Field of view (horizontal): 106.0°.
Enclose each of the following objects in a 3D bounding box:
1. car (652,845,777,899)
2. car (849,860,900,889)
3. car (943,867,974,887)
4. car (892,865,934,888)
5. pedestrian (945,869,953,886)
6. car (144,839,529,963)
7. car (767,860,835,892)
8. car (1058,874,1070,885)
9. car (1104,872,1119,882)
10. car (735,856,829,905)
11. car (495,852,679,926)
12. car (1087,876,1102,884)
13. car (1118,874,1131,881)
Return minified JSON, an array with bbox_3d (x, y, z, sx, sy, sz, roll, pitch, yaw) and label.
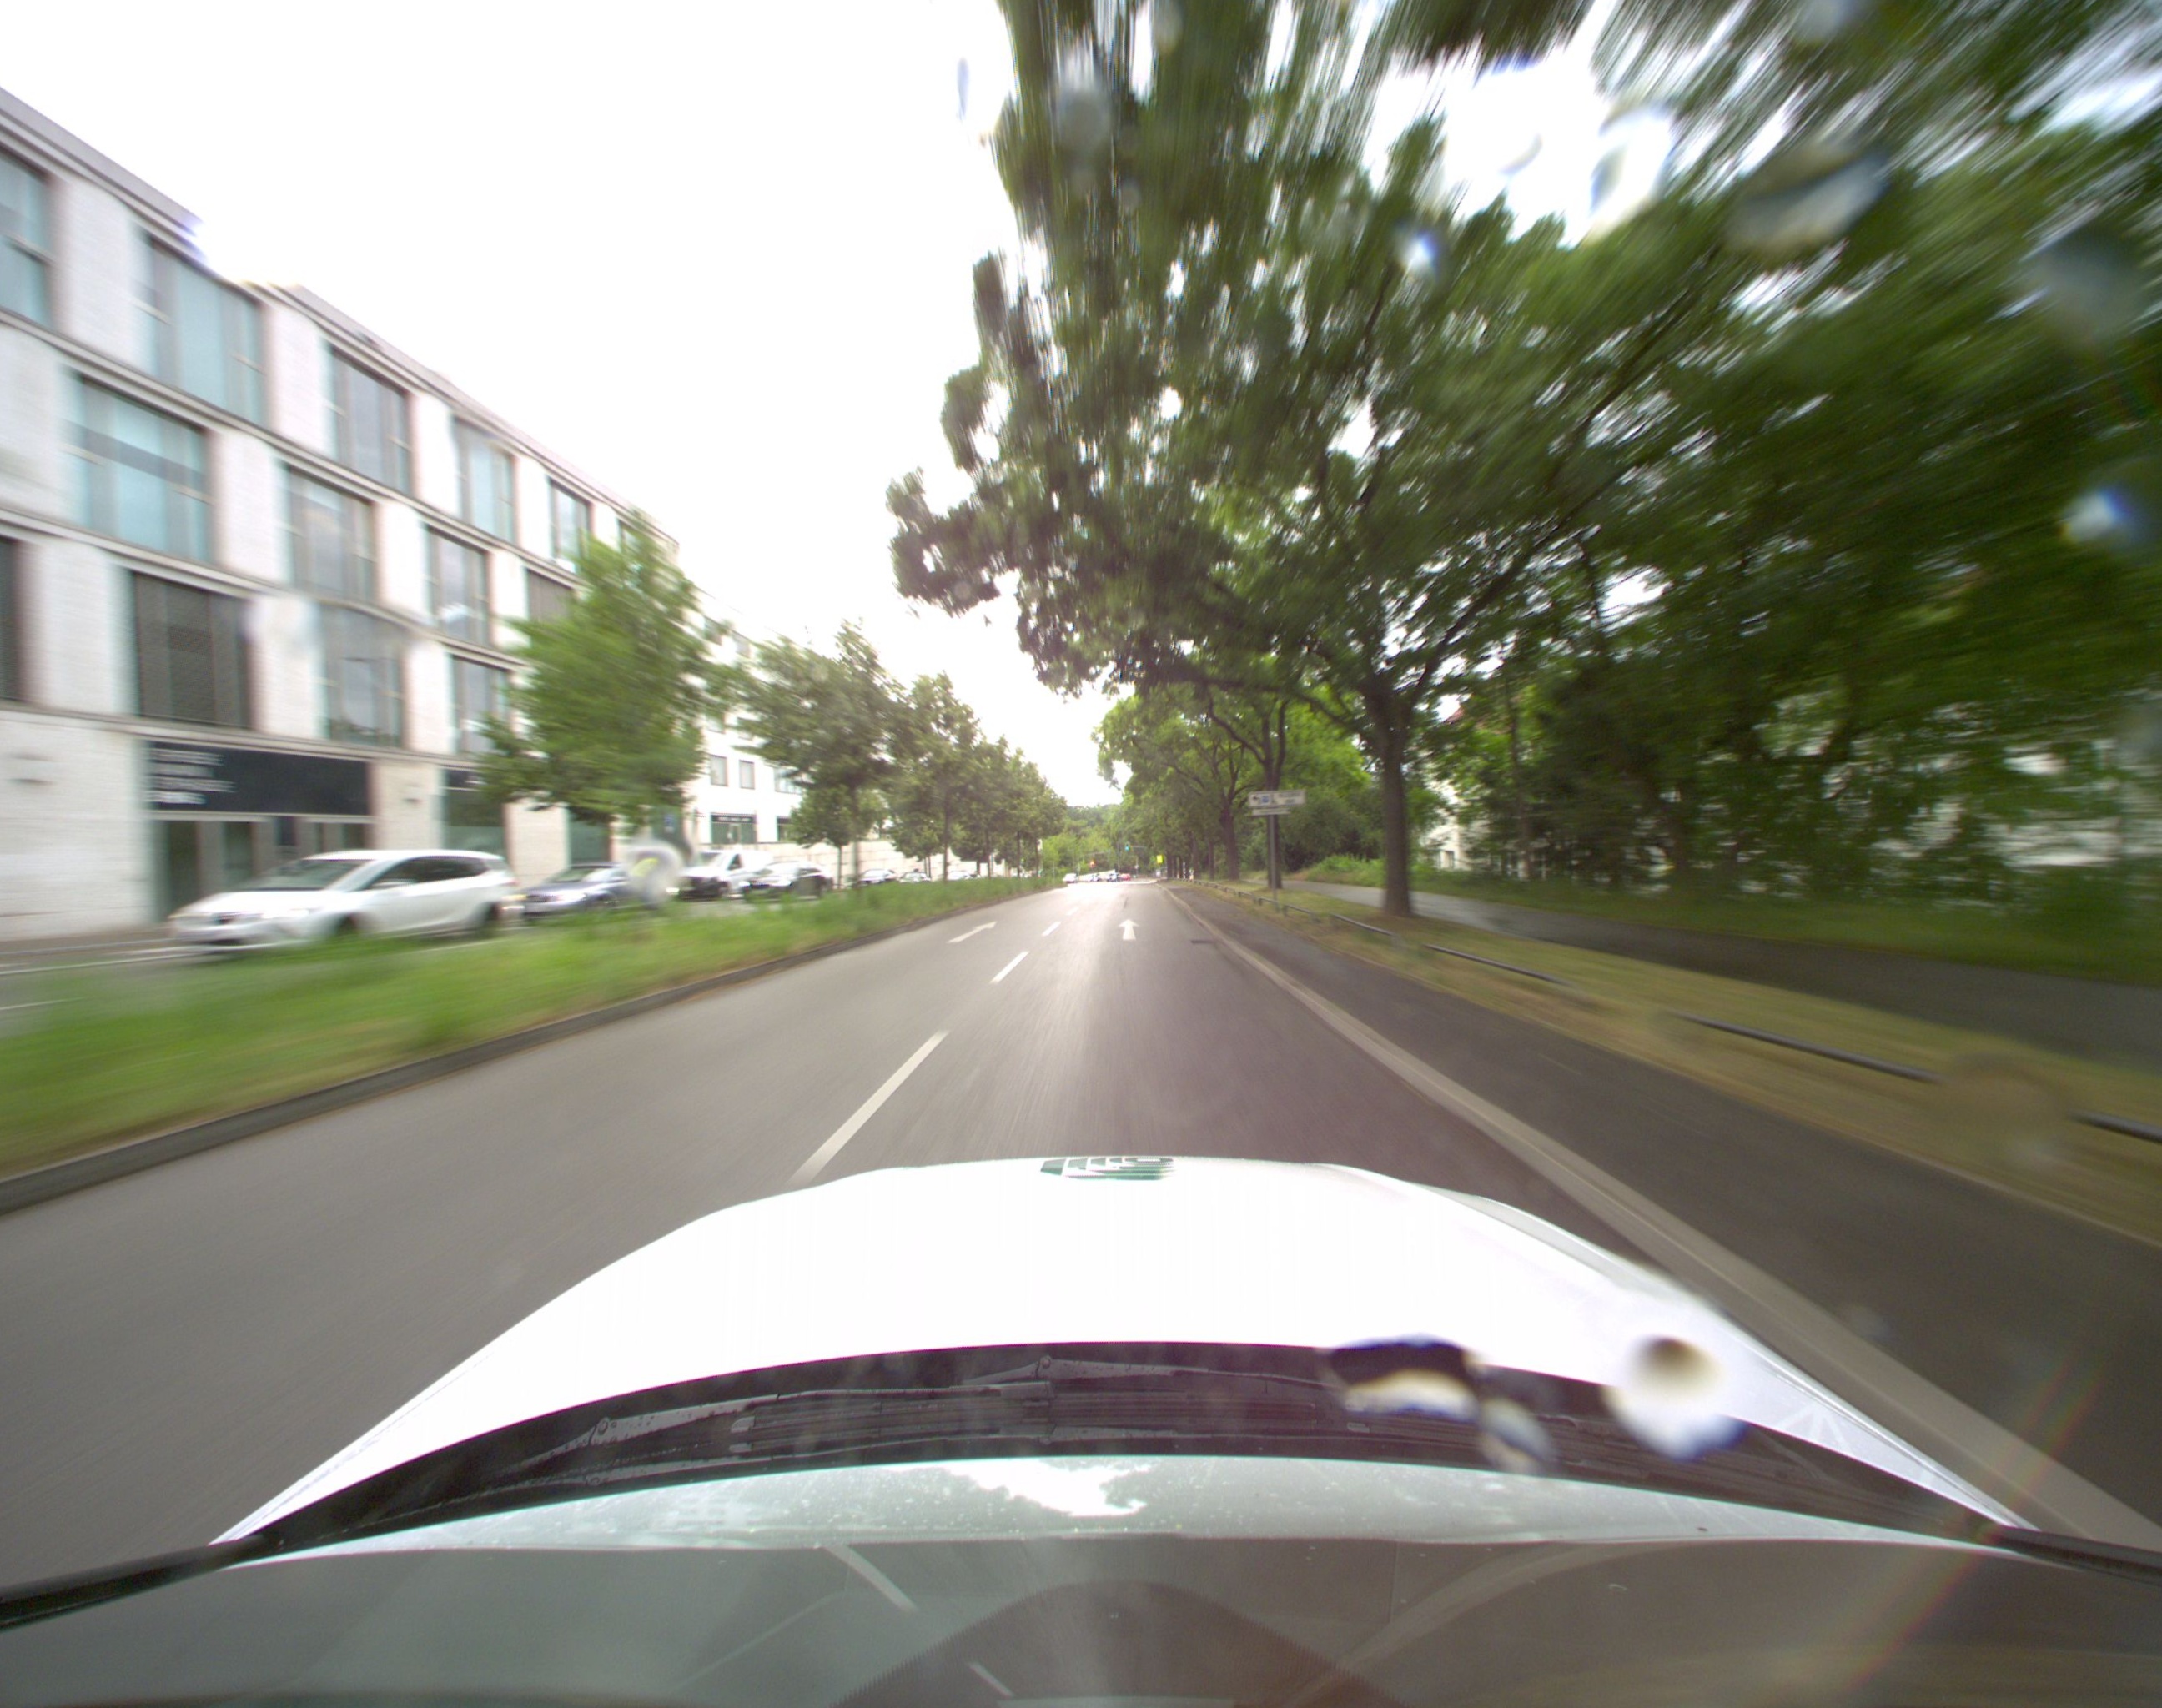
[{"bbox_3d":[-13.598,0.666,30.690,2.113,1.816,5.263,-1,-1,3],"label":"car"},{"bbox_3d":[-12.151,1.175,48.106,1.687,1.581,4.022,-2,0,4],"label":"car"},{"bbox_3d":[-10.533,1.988,70.231,1.695,1.621,4.366,-2,-2,4],"label":"car"},{"bbox_3d":[-11.623,1.529,56.540,1.686,1.444,3.866,-1,0,6],"label":"car"},{"bbox_3d":[-14.651,2.619,90.366,0.704,1.775,1.022,-2,-2,4],"label":"pedestrian"},{"bbox_3d":[-11.878,0.612,13.588,1.821,1.600,4.680,-2,2,4],"label":"car"},{"bbox_3d":[-12.829,1.002,37.585,1.688,1.385,3.701,0,-1,3],"label":"car"},{"bbox_3d":[-2.915,4.462,141.360,1.703,1.747,4.340,-2,-2,3],"label":"car"},{"bbox_3d":[6.401,4.814,169.962,1.906,1.857,4.526,-6,-2,17],"label":"car"},{"bbox_3d":[-10.719,0.897,29.527,1.688,1.581,4.021,-1,0,3],"label":"car"},{"bbox_3d":[-11.500,0.737,19.326,1.634,1.410,4.002,-2,2,4],"label":"car"},{"bbox_3d":[2.632,4.922,156.602,1.757,1.381,4.207,-4,-2,16],"label":"car"},{"bbox_3d":[10.115,5.462,187.501,1.859,1.575,4.243,0,-1,19],"label":"car"}]
